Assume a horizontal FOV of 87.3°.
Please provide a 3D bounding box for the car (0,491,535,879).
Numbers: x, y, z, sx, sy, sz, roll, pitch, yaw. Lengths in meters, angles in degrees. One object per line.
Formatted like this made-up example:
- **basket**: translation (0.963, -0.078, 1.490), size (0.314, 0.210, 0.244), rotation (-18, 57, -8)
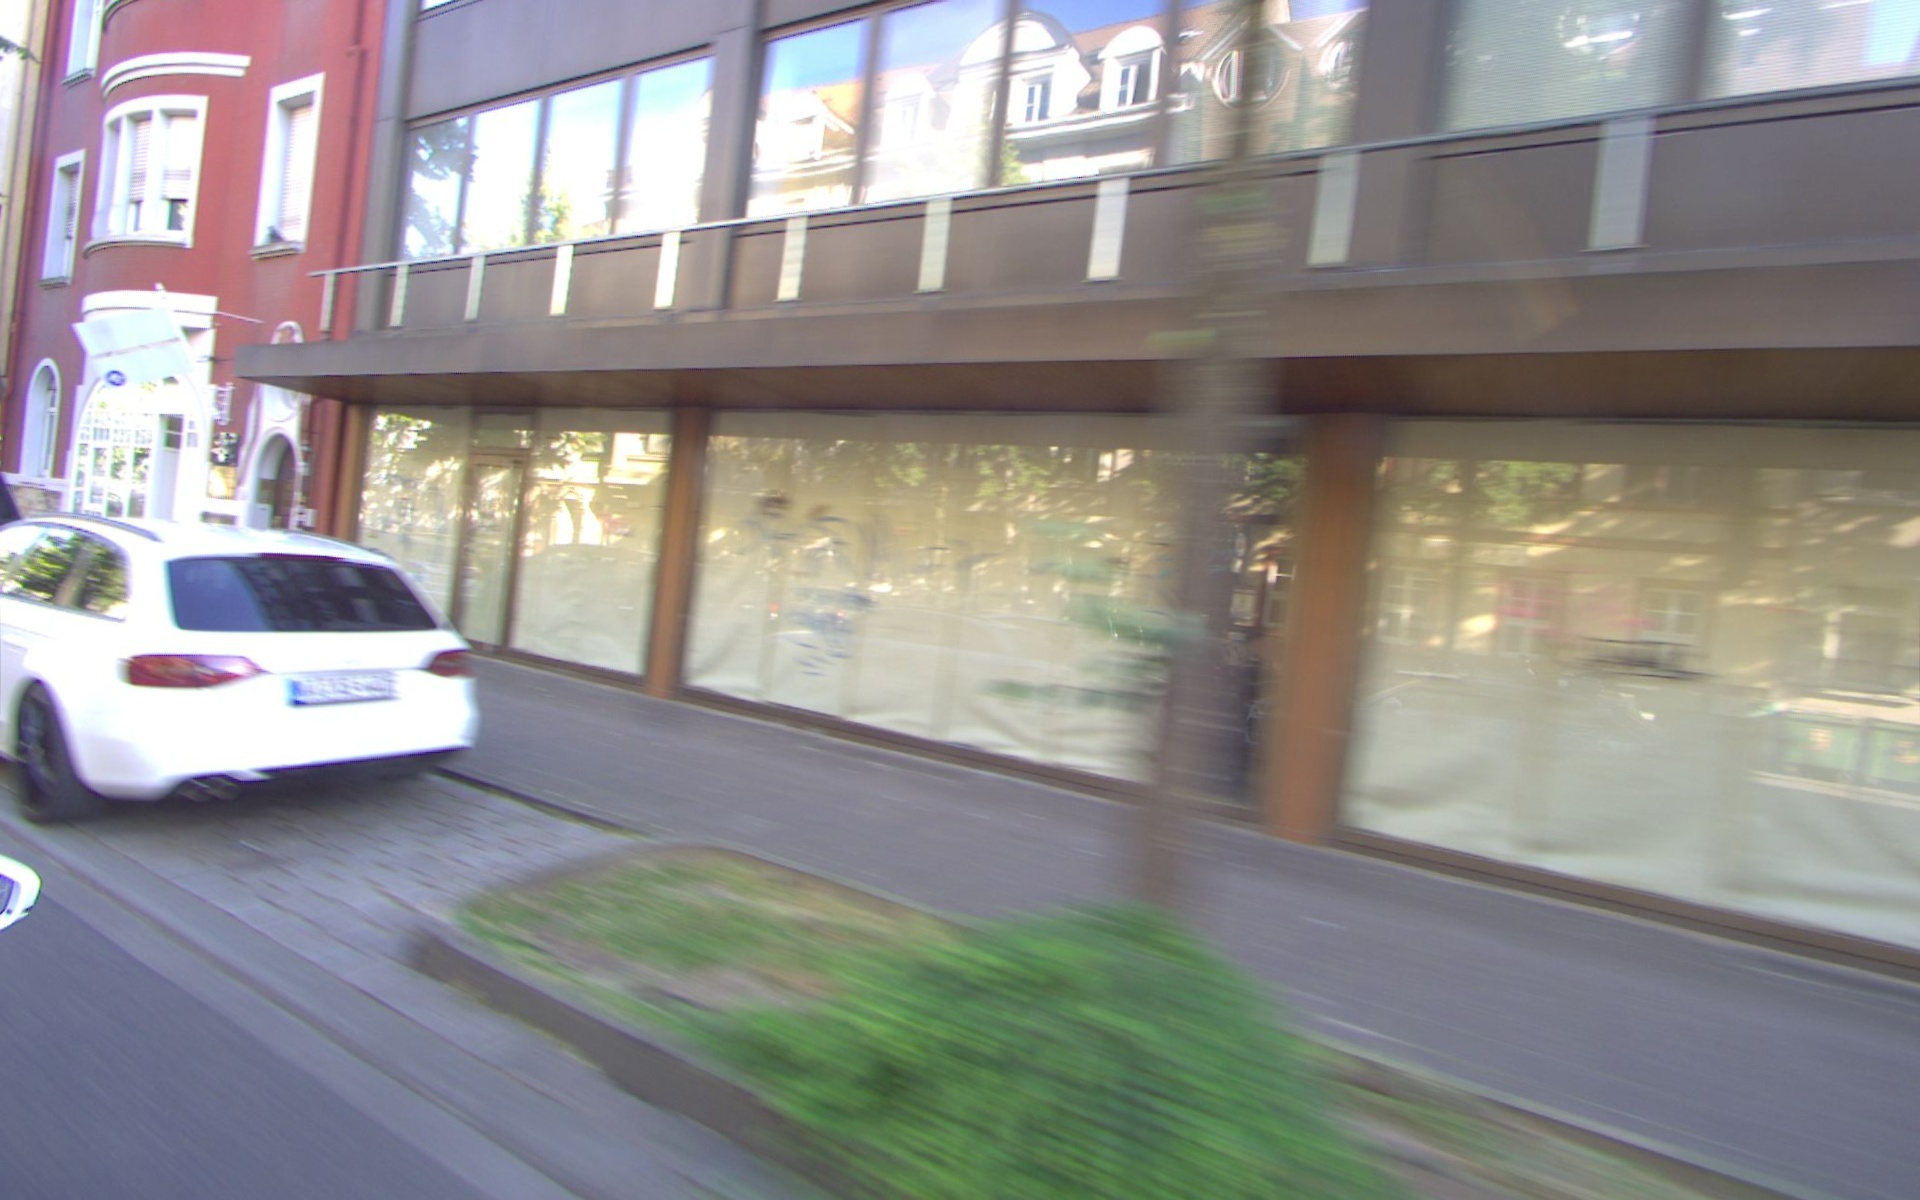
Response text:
- **car**: translation (-4.871, 0.185, 6.034), size (4.762, 1.421, 1.822), rotation (7, 2, 32)

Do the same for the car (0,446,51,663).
- **car**: translation (-10.271, -0.646, 9.218), size (4.852, 1.801, 1.821), rotation (7, 3, 35)
